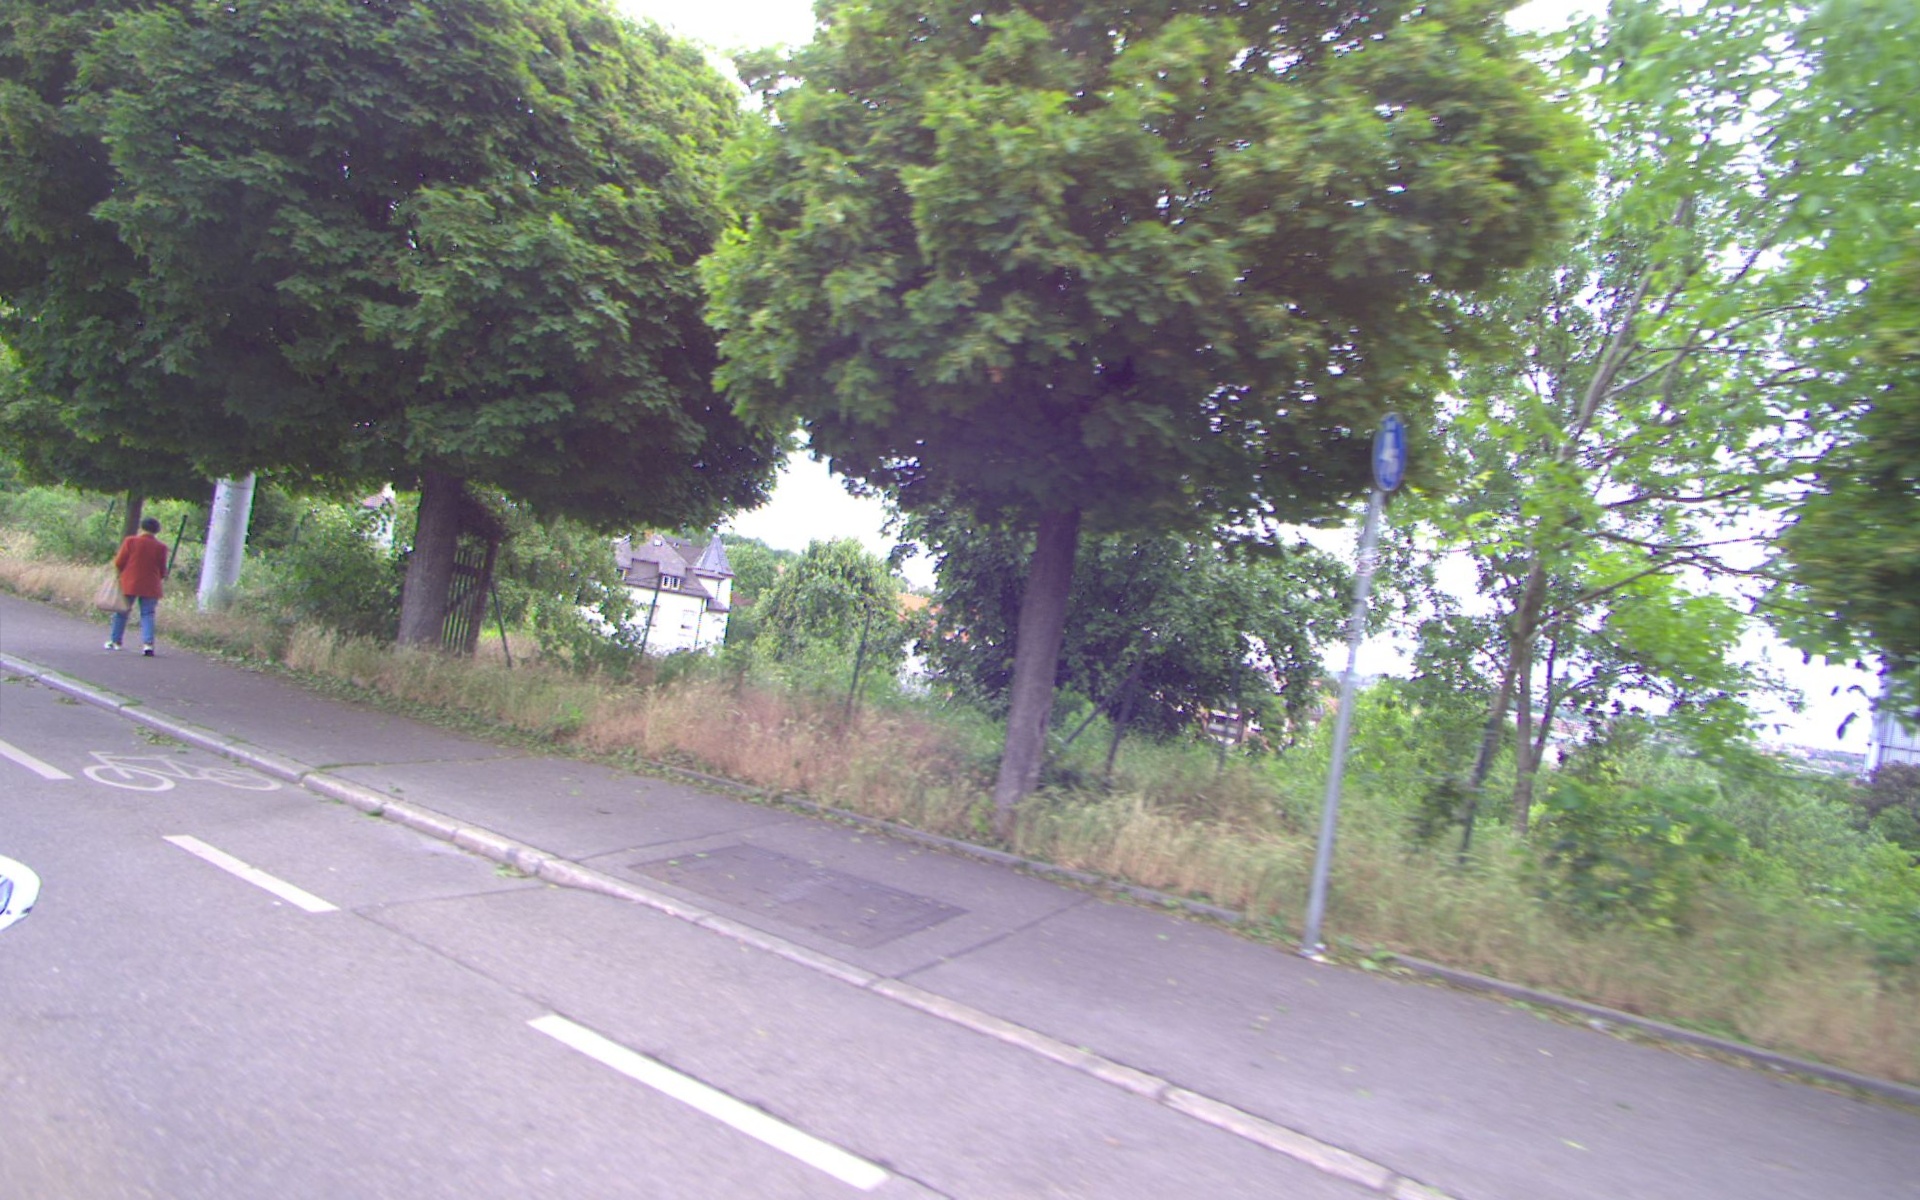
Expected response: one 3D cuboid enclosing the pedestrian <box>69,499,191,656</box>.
[{"bbox_3d":[-9.349,-0.244,11.341,0.707,1.639,0.716,7,-1,32],"label":"pedestrian"}]
